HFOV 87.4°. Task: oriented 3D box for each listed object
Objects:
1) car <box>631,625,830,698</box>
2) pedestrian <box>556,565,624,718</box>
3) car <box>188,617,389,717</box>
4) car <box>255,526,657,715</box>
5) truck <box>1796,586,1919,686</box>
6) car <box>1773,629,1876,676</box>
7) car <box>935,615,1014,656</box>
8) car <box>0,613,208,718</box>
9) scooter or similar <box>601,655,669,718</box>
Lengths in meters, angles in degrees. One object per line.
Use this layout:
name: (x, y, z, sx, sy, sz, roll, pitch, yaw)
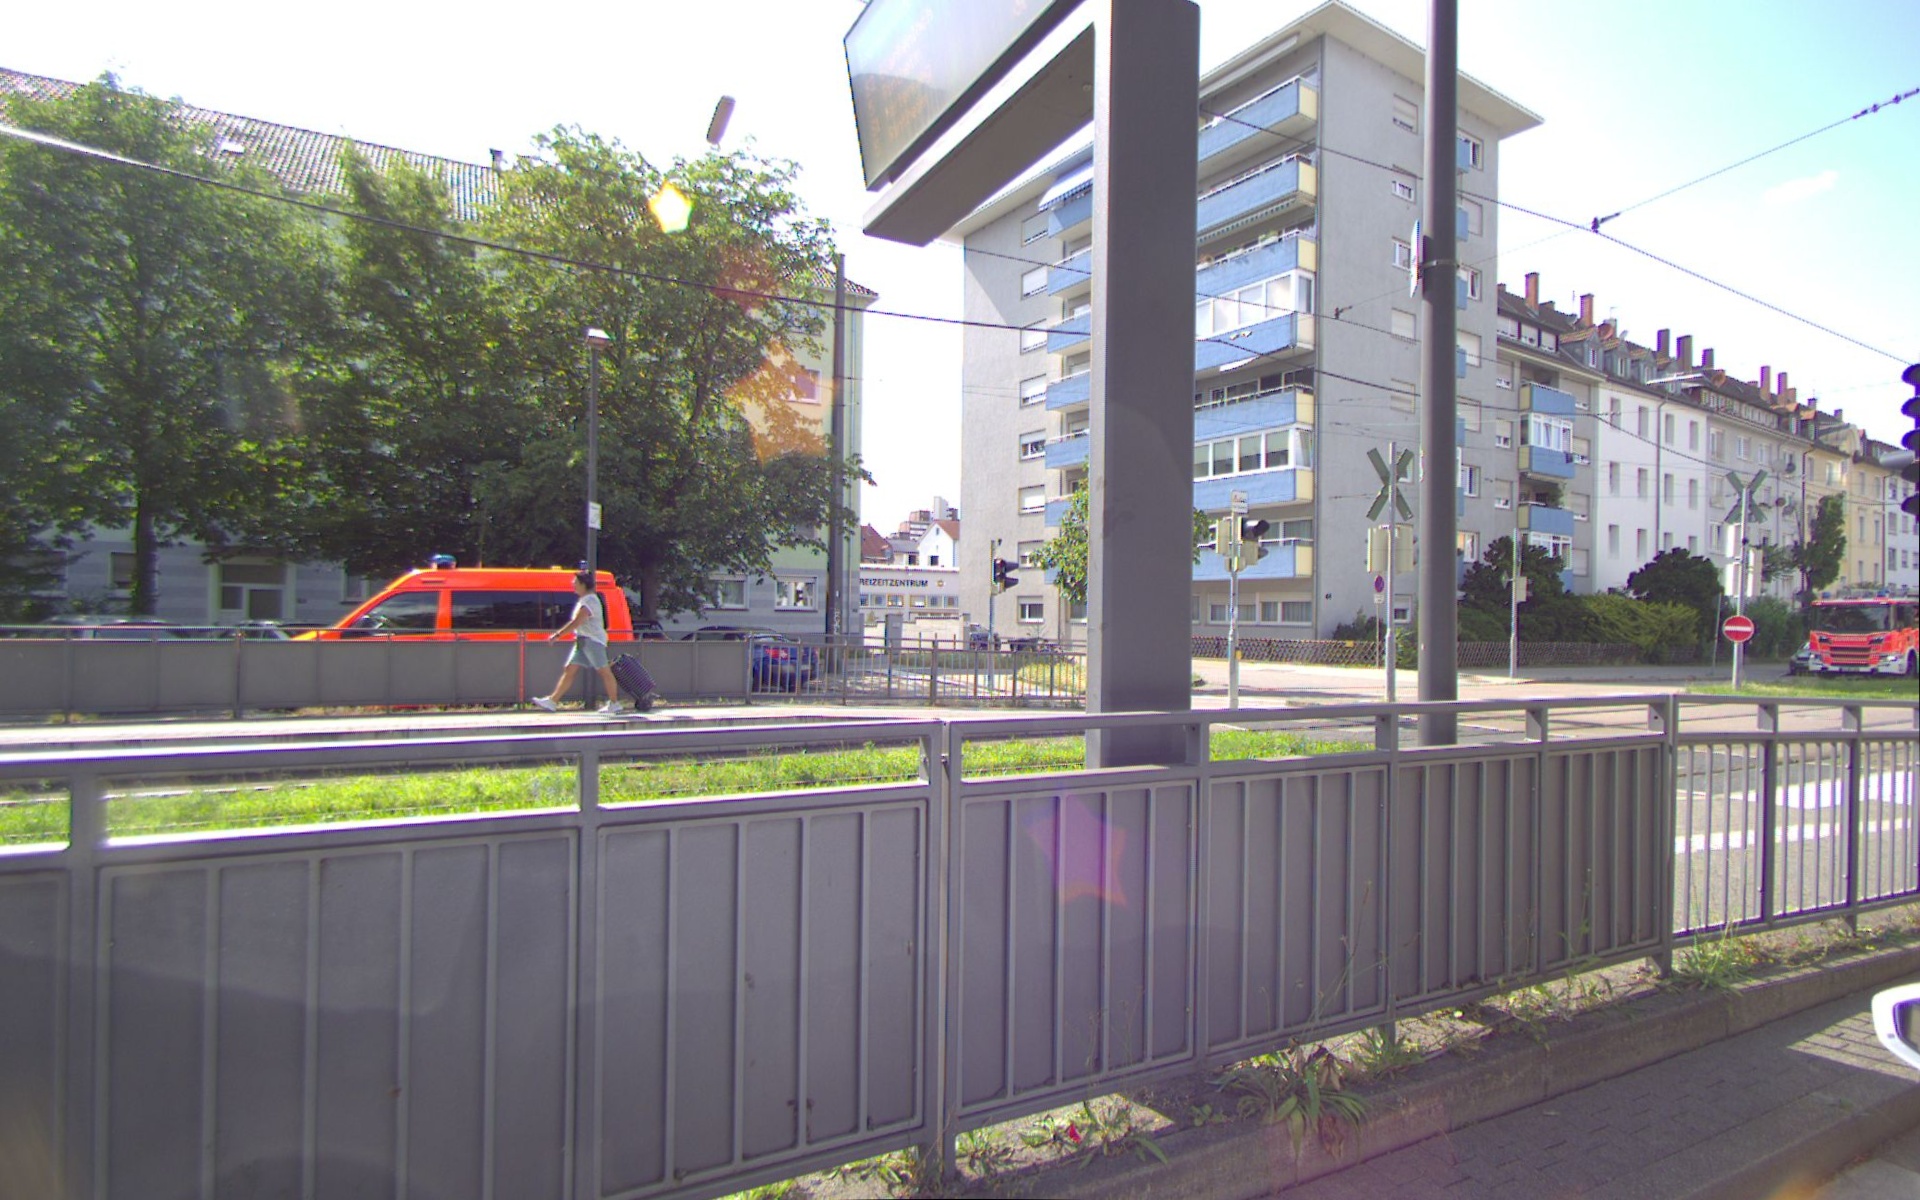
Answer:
car: (-4.989, 1.276, 21.810, 4.055, 1.413, 1.608, 0, -1, 24)
pedestrian: (-4.242, 0.465, 11.503, 0.624, 1.686, 0.657, 1, -1, -29)
car: (-12.061, 1.119, 18.001, 3.603, 1.600, 1.645, 0, -1, 32)
car: (-6.958, 0.352, 14.305, 4.774, 2.305, 1.986, 1, -3, -29)
truck: (33.317, 1.299, 36.114, 8.291, 3.228, 2.581, 2, 0, -33)
car: (34.271, 2.074, 39.788, 3.956, 1.667, 1.982, 2, 0, -32)
car: (0.645, 1.637, 47.547, 1.976, 1.706, 3.968, 2, 0, -30)
car: (-14.208, 0.997, 16.557, 3.959, 1.534, 1.605, 0, -1, 33)
scooter or similar: (-3.854, 1.013, 11.920, 0.692, 0.708, 0.440, 1, -1, -29)
